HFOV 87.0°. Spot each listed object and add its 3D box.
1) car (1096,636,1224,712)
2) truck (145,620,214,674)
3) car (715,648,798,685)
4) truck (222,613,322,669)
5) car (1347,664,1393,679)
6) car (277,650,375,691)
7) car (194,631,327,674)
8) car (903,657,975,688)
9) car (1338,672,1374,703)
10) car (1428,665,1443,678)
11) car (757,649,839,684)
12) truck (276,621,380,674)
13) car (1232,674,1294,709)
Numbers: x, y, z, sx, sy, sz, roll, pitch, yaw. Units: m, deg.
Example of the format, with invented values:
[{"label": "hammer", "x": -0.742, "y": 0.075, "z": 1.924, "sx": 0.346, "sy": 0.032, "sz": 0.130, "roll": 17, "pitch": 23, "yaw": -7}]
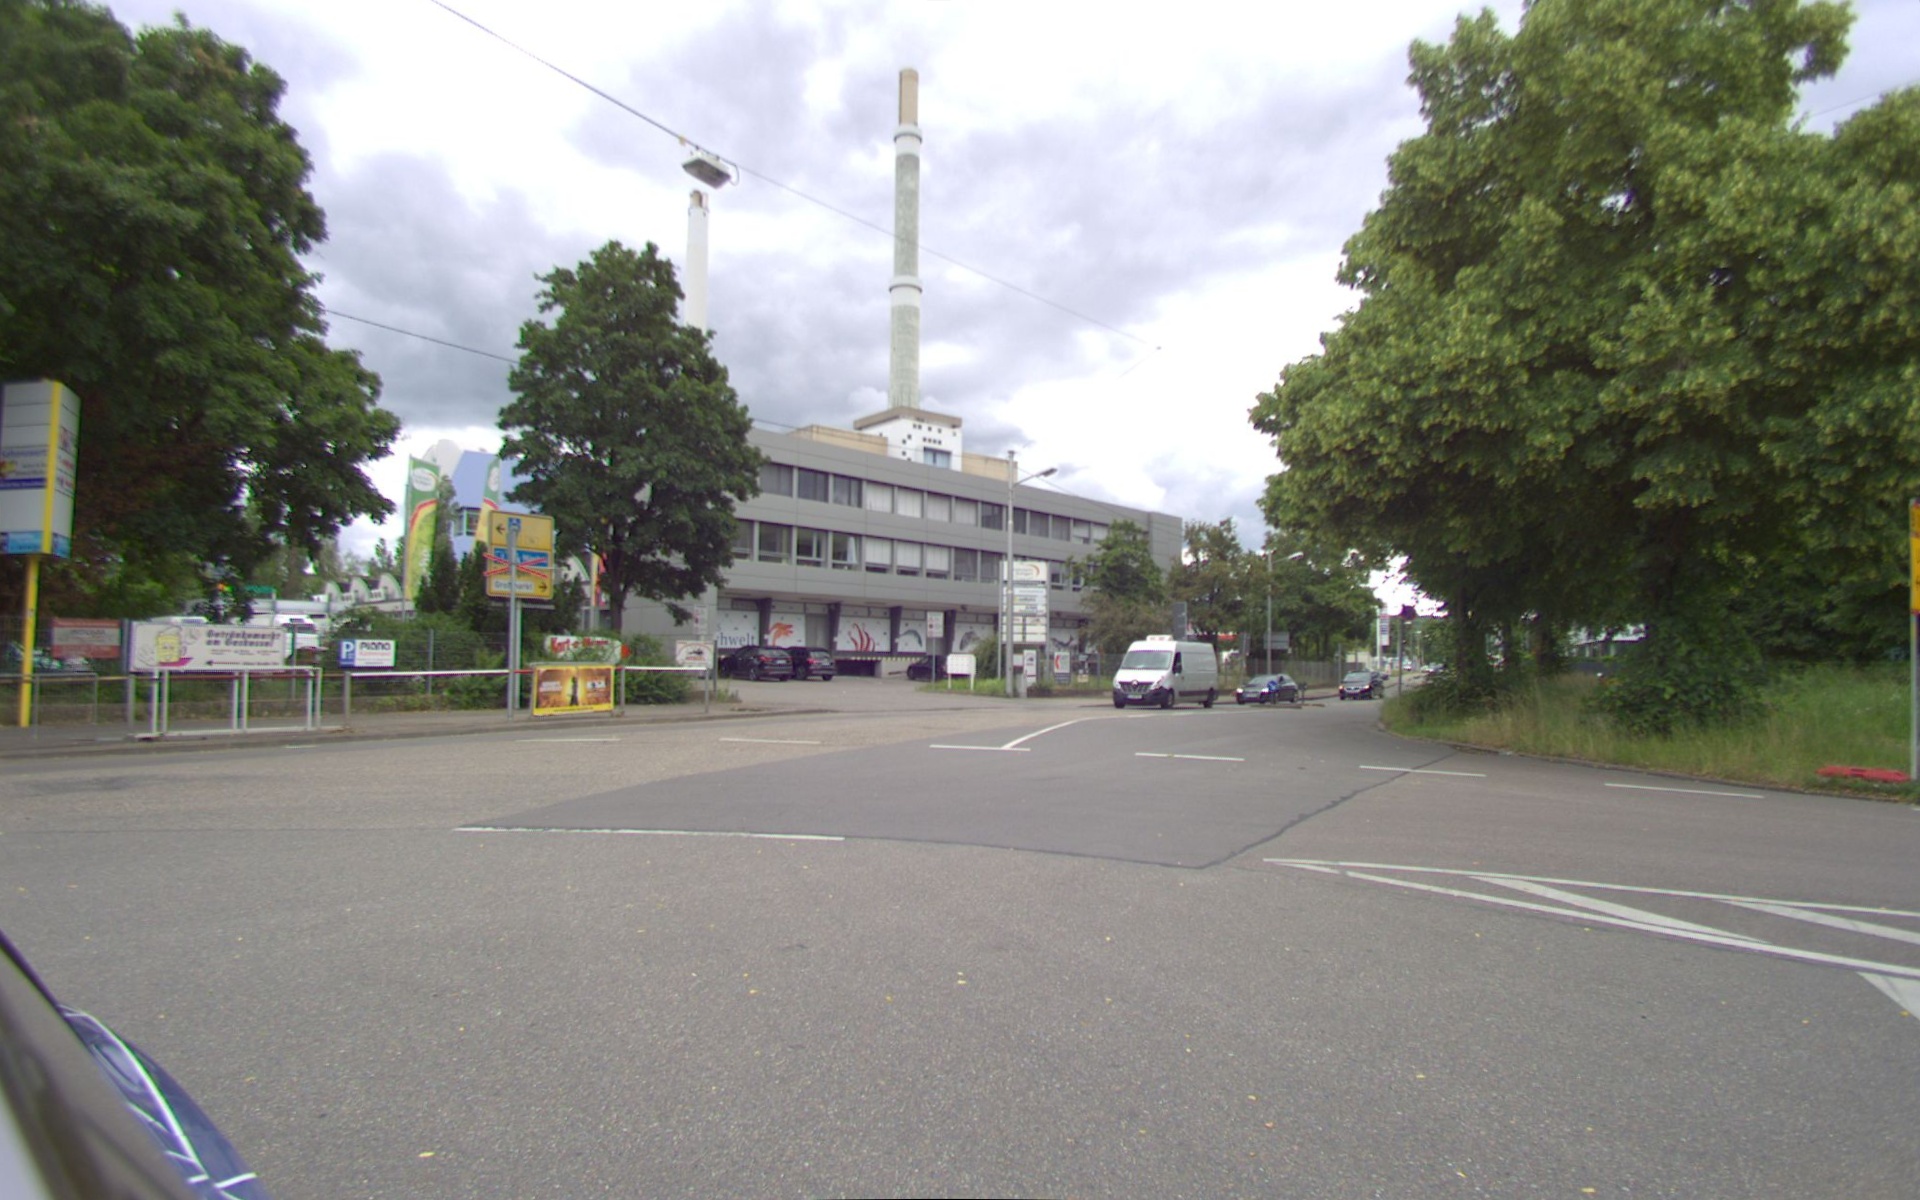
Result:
[{"label": "car", "x": 7.288, "y": 2.640, "z": 36.312, "sx": 2.383, "sy": 2.478, "sz": 6.030, "roll": -3, "pitch": -5, "yaw": 33}, {"label": "truck", "x": -63.525, "y": 3.881, "z": 82.308, "sx": 9.191, "sy": 4.198, "sz": 2.956, "roll": -3, "pitch": -5, "yaw": 44}, {"label": "car", "x": -9.861, "y": 3.192, "z": 48.836, "sx": 1.811, "sy": 1.630, "sz": 4.469, "roll": 4, "pitch": -4, "yaw": -44}, {"label": "truck", "x": -54.104, "y": 3.324, "z": 79.283, "sx": 15.727, "sy": 3.964, "sz": 2.812, "roll": -3, "pitch": -5, "yaw": 43}, {"label": "car", "x": 53.384, "y": 9.312, "z": 131.785, "sx": 5.435, "sy": 1.884, "sz": 2.009, "roll": -2, "pitch": -4, "yaw": 26}, {"label": "car", "x": -20.741, "y": 2.292, "z": 33.079, "sx": 3.700, "sy": 1.258, "sz": 1.686, "roll": -3, "pitch": -5, "yaw": 41}, {"label": "car", "x": -47.675, "y": 3.666, "z": 69.159, "sx": 2.244, "sy": 2.754, "sz": 7.050, "roll": -3, "pitch": -6, "yaw": 44}, {"label": "car", "x": -1.223, "y": 3.940, "z": 55.497, "sx": 2.015, "sy": 1.456, "sz": 4.844, "roll": 2, "pitch": -2, "yaw": -27}, {"label": "car", "x": 22.534, "y": 4.914, "z": 57.542, "sx": 1.784, "sy": 1.653, "sz": 4.407, "roll": -1, "pitch": -4, "yaw": 22}, {"label": "car", "x": 66.361, "y": 9.982, "z": 141.346, "sx": 1.786, "sy": 1.653, "sz": 4.403, "roll": -2, "pitch": -4, "yaw": 25}, {"label": "car", "x": -8.195, "y": 3.343, "z": 51.011, "sx": 1.812, "sy": 1.630, "sz": 4.426, "roll": 4, "pitch": -4, "yaw": -45}, {"label": "truck", "x": -51.632, "y": 3.926, "z": 82.338, "sx": 15.724, "sy": 3.964, "sz": 2.812, "roll": -3, "pitch": -5, "yaw": 42}, {"label": "car", "x": 14.185, "y": 4.218, "z": 47.211, "sx": 1.858, "sy": 1.524, "sz": 4.396, "roll": -2, "pitch": -4, "yaw": 29}]
